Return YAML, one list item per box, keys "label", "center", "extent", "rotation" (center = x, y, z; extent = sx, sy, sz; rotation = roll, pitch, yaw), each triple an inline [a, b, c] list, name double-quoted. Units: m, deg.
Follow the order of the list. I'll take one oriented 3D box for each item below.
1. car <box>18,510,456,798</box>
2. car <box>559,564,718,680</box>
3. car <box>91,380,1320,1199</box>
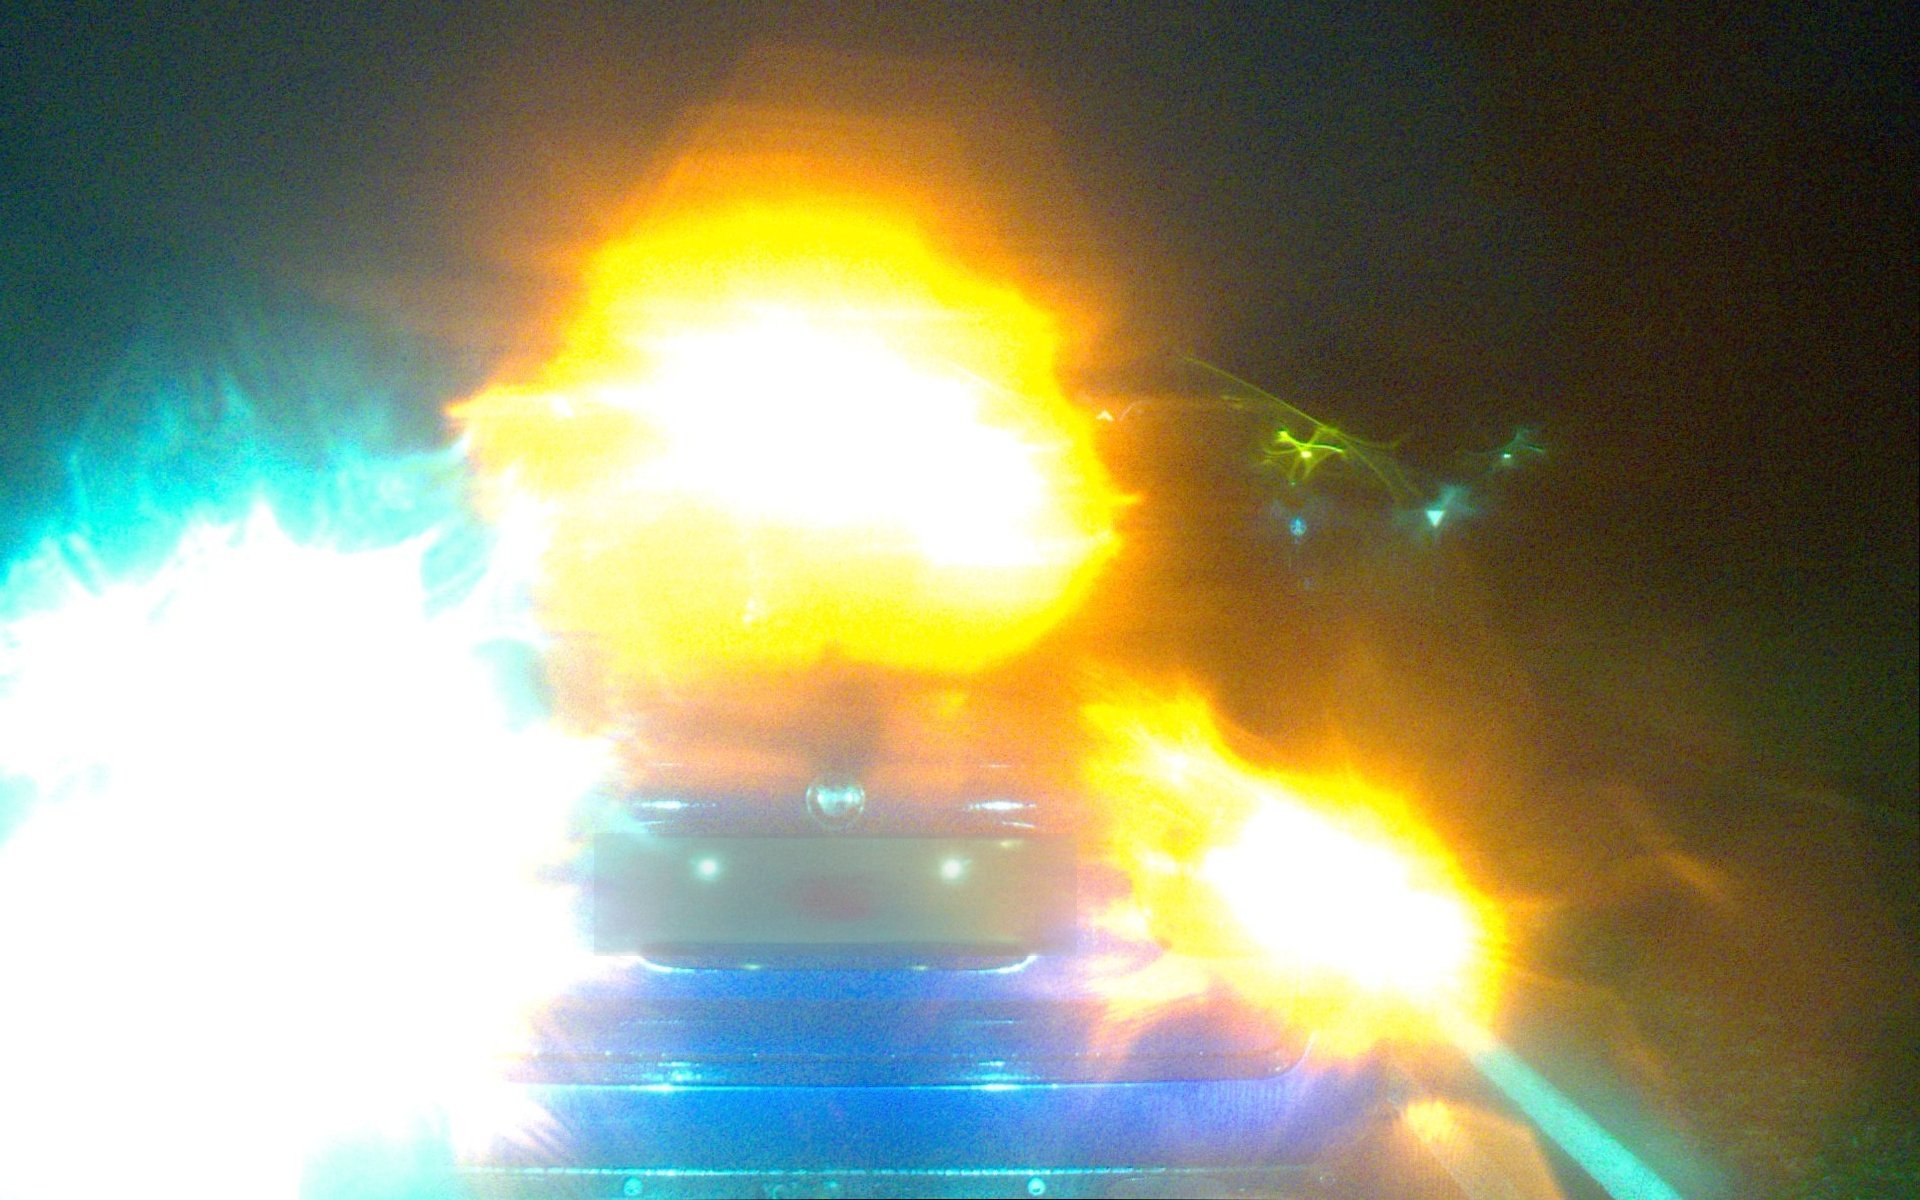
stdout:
- label: "car"
  center: [-4.249, 0.242, 20.852]
  extent: [1.837, 1.540, 4.257]
  rotation: [1, 1, -1]
- label: "car"
  center: [-4.498, 0.280, 48.625]
  extent: [1.903, 1.465, 4.275]
  rotation: [2, 1, -1]
- label: "car"
  center: [-0.377, 0.521, 6.993]
  extent: [1.775, 1.706, 4.000]
  rotation: [1, 1, 0]
